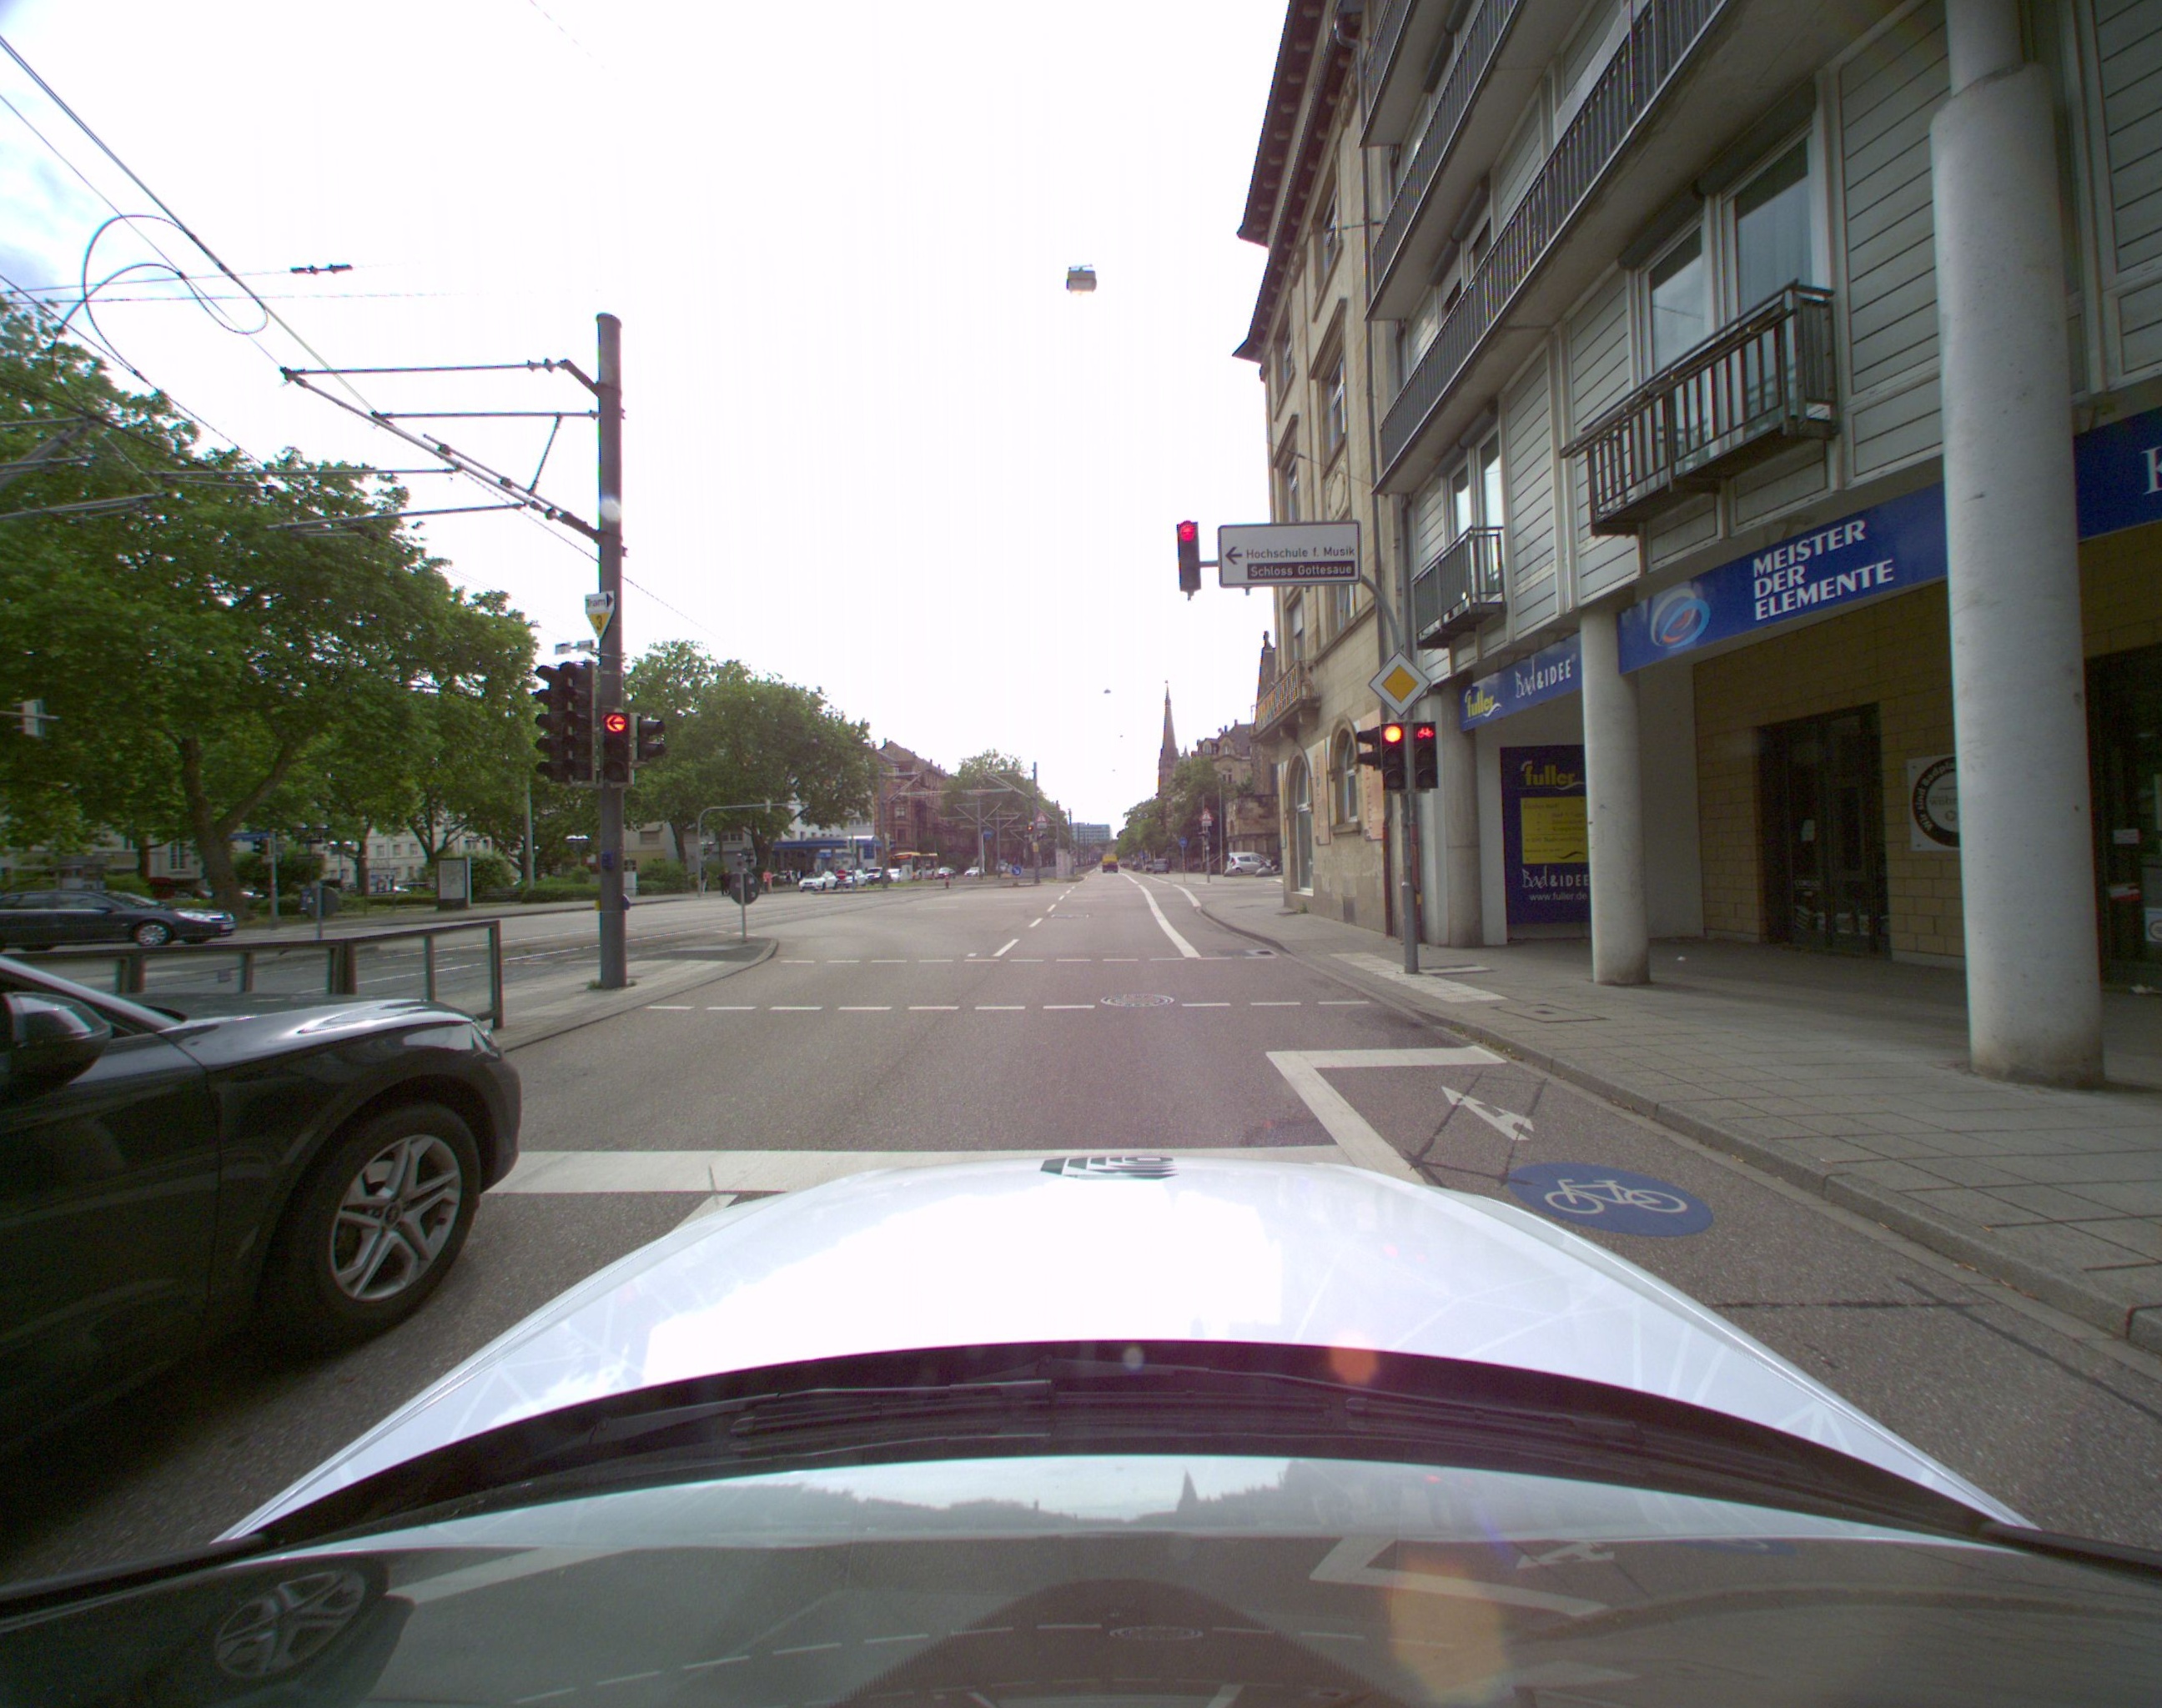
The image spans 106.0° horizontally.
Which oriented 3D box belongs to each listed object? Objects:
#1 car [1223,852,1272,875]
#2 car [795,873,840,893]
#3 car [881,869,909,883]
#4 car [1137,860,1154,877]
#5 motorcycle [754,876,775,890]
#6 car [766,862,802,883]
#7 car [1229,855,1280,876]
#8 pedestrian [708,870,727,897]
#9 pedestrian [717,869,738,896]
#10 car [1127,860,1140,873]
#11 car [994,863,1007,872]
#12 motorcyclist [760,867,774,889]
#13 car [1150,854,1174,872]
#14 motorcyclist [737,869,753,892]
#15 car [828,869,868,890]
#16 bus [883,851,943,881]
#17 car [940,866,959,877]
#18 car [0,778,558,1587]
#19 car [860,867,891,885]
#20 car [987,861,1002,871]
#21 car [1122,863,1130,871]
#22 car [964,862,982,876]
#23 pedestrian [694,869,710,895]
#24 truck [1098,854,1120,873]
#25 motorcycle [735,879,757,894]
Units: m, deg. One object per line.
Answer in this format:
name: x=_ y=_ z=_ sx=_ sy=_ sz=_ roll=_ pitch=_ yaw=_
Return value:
car: x=13.930 y=0.796 z=68.233 sx=3.699 sy=1.855 sz=2.001 roll=0 pitch=-1 yaw=2
car: x=-19.216 y=2.082 z=59.562 sx=1.739 sy=1.321 sz=4.079 roll=0 pitch=-1 yaw=4
car: x=-18.154 y=2.107 z=79.637 sx=1.649 sy=1.321 sz=3.641 roll=0 pitch=-1 yaw=3
car: x=7.895 y=1.706 z=99.590 sx=1.985 sy=2.014 sz=4.004 roll=0 pitch=-1 yaw=4
motorcycle: x=-21.641 y=1.963 z=55.711 sx=0.604 sy=0.928 sz=1.953 roll=-2 pitch=-1 yaw=2
car: x=-29.791 y=1.812 z=81.840 sx=1.986 sy=2.014 sz=4.001 roll=-2 pitch=0 yaw=2
car: x=13.753 y=0.913 z=64.779 sx=3.699 sy=1.563 sz=2.001 roll=0 pitch=-1 yaw=2
pedestrian: x=-23.279 y=1.891 z=52.197 sx=0.859 sy=1.713 sz=0.695 roll=-2 pitch=-1 yaw=31
pedestrian: x=-22.974 y=1.835 z=52.920 sx=0.863 sy=1.713 sz=0.880 roll=-2 pitch=-1 yaw=25
car: x=8.695 y=2.063 z=135.974 sx=1.986 sy=2.014 sz=4.001 roll=0 pitch=-1 yaw=2
car: x=-14.786 y=2.455 z=149.897 sx=1.986 sy=1.610 sz=4.001 roll=0 pitch=-1 yaw=2
motorcyclist: x=-21.601 y=1.658 z=56.046 sx=0.617 sy=1.520 sz=0.874 roll=-1 pitch=-1 yaw=2
car: x=8.978 y=0.996 z=89.947 sx=1.979 sy=1.855 sz=4.042 roll=-1 pitch=-1 yaw=14
motorcyclist: x=-22.684 y=1.813 z=54.987 sx=0.617 sy=1.520 sz=0.874 roll=-1 pitch=-1 yaw=2
car: x=-18.841 y=2.062 z=66.073 sx=1.986 sy=1.594 sz=4.001 roll=0 pitch=-1 yaw=2
bus: x=-18.295 y=1.306 z=89.714 sx=3.217 sy=3.035 sz=12.323 roll=0 pitch=0 yaw=4
car: x=-16.639 y=2.203 z=103.315 sx=1.649 sy=1.321 sz=3.641 roll=0 pitch=-1 yaw=3
car: x=-3.069 y=0.667 z=1.225 sx=1.727 sy=1.637 sz=4.228 roll=0 pitch=-1 yaw=2
car: x=-18.326 y=1.935 z=72.716 sx=1.649 sy=1.478 sz=3.641 roll=0 pitch=-1 yaw=3
car: x=-15.045 y=2.073 z=142.088 sx=1.986 sy=1.610 sz=4.001 roll=0 pitch=-1 yaw=2
car: x=11.923 y=3.386 z=216.782 sx=1.986 sy=2.014 sz=4.001 roll=0 pitch=-1 yaw=2
car: x=-16.002 y=2.248 z=121.079 sx=1.986 sy=2.014 sz=4.001 roll=0 pitch=-1 yaw=2
pedestrian: x=-25.538 y=1.883 z=54.817 sx=0.680 sy=1.690 sz=0.743 roll=0 pitch=-1 yaw=6
truck: x=4.307 y=1.390 z=124.416 sx=3.043 sy=2.769 sz=9.821 roll=-2 pitch=0 yaw=2
motorcycle: x=-22.669 y=2.183 z=55.155 sx=0.604 sy=0.928 sz=1.953 roll=-2 pitch=-1 yaw=2
